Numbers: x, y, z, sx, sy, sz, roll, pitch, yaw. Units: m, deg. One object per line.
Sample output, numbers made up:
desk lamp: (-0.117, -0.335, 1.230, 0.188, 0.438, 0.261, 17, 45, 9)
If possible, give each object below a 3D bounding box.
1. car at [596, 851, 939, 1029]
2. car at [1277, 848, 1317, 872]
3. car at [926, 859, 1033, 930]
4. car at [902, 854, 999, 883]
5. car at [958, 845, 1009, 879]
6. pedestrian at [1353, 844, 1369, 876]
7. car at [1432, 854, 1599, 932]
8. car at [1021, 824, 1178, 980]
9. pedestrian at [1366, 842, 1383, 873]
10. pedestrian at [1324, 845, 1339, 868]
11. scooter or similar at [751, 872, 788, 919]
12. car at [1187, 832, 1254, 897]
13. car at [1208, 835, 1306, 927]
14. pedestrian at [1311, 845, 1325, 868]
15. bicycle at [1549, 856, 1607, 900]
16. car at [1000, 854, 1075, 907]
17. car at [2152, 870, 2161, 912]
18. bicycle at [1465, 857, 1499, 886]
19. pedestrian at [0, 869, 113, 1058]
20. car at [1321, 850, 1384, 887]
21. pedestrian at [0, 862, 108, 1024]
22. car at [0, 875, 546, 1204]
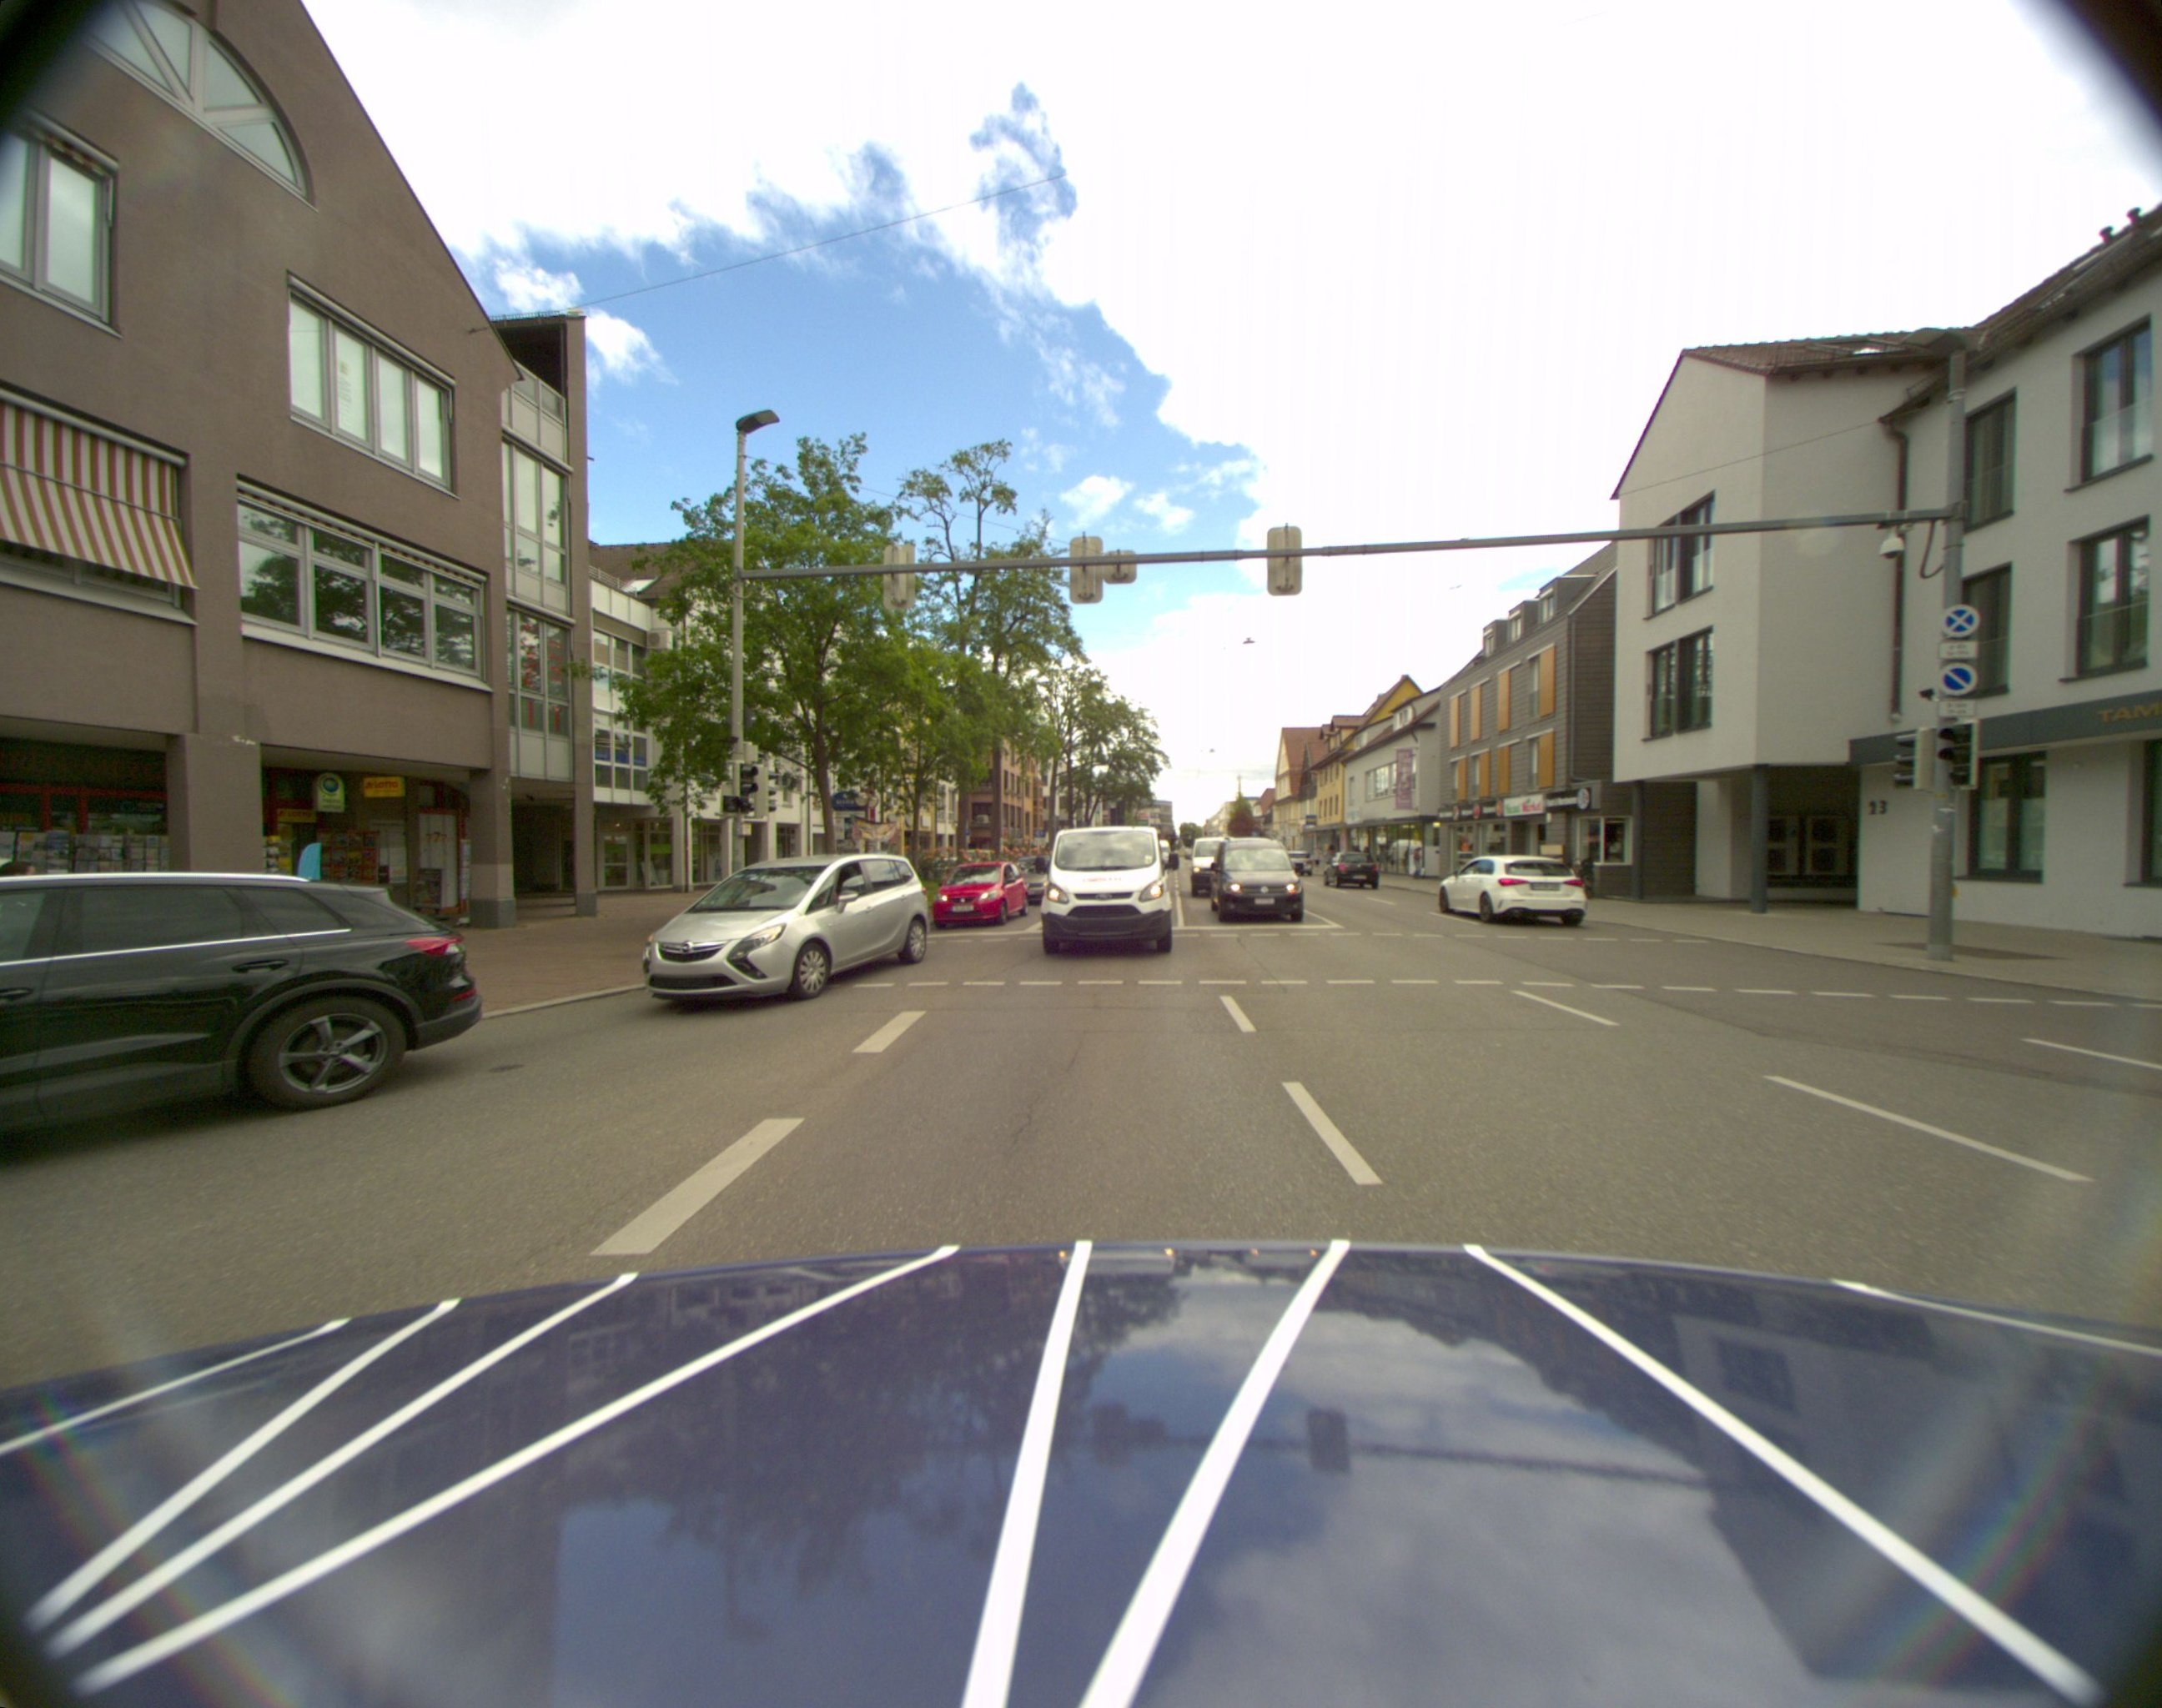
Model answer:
car: (-3.593, 0.870, 9.775, 1.742, 1.691, 4.385, -2, 1, 14)
car: (13.590, 0.344, 48.020, 1.872, 1.477, 4.002, 0, 1, 7)
car: (-2.346, 0.903, 18.513, 1.629, 1.440, 3.644, -2, 0, 8)
car: (-6.744, 0.732, 39.497, 4.647, 1.445, 1.740, 0, 1, 7)
car: (-5.786, 0.441, 45.654, 1.998, 1.865, 4.754, 1, 1, 5)
pedestrian: (16.385, 0.352, 44.442, 0.708, 1.828, 1.028, 0, 1, 9)
car: (9.325, 0.747, 16.739, 1.747, 1.450, 4.237, 0, 1, 8)
car: (0.599, 0.597, 12.729, 1.939, 1.968, 5.782, -2, 0, 8)
pedestrian: (17.113, 0.213, 44.306, 0.708, 1.771, 0.870, 0, 1, 7)
pedestrian: (17.748, 0.172, 53.850, 0.811, 1.574, 0.921, -1, 1, 8)
scooter or similar: (-8.157, 1.068, 19.957, 0.471, 1.081, 1.886, 0, 1, -10)
car: (4.761, 0.306, 26.500, 1.997, 2.002, 4.842, -2, 1, 8)
car: (3.941, 0.522, 17.657, 1.711, 1.810, 4.573, -2, 0, 7)
pedestrian: (16.807, 0.170, 53.887, 0.811, 1.652, 0.921, -1, 1, 8)
bicycle: (15.020, 0.702, 23.041, 0.583, 1.225, 2.120, -1, 1, 6)
car: (-1.362, 0.831, 25.344, 1.801, 1.521, 4.001, -2, 0, 6)
car: (30.982, 1.096, 19.926, 1.396, 1.173, 3.355, 3, 1, 12)
bicycle: (15.660, 0.669, 29.714, 0.573, 1.094, 1.903, -1, 1, 8)
pedestrian: (-9.764, 0.962, 6.882, 0.743, 1.617, 0.954, 0, 1, 4)
car: (11.424, 0.573, 32.172, 1.747, 1.450, 3.820, 0, 1, 8)
pedestrian: (-11.284, 0.908, 7.928, 0.810, 1.617, 1.094, 0, 1, 5)
car: (-6.383, 1.043, 4.492, 1.852, 1.600, 4.870, -2, 0, 34)
